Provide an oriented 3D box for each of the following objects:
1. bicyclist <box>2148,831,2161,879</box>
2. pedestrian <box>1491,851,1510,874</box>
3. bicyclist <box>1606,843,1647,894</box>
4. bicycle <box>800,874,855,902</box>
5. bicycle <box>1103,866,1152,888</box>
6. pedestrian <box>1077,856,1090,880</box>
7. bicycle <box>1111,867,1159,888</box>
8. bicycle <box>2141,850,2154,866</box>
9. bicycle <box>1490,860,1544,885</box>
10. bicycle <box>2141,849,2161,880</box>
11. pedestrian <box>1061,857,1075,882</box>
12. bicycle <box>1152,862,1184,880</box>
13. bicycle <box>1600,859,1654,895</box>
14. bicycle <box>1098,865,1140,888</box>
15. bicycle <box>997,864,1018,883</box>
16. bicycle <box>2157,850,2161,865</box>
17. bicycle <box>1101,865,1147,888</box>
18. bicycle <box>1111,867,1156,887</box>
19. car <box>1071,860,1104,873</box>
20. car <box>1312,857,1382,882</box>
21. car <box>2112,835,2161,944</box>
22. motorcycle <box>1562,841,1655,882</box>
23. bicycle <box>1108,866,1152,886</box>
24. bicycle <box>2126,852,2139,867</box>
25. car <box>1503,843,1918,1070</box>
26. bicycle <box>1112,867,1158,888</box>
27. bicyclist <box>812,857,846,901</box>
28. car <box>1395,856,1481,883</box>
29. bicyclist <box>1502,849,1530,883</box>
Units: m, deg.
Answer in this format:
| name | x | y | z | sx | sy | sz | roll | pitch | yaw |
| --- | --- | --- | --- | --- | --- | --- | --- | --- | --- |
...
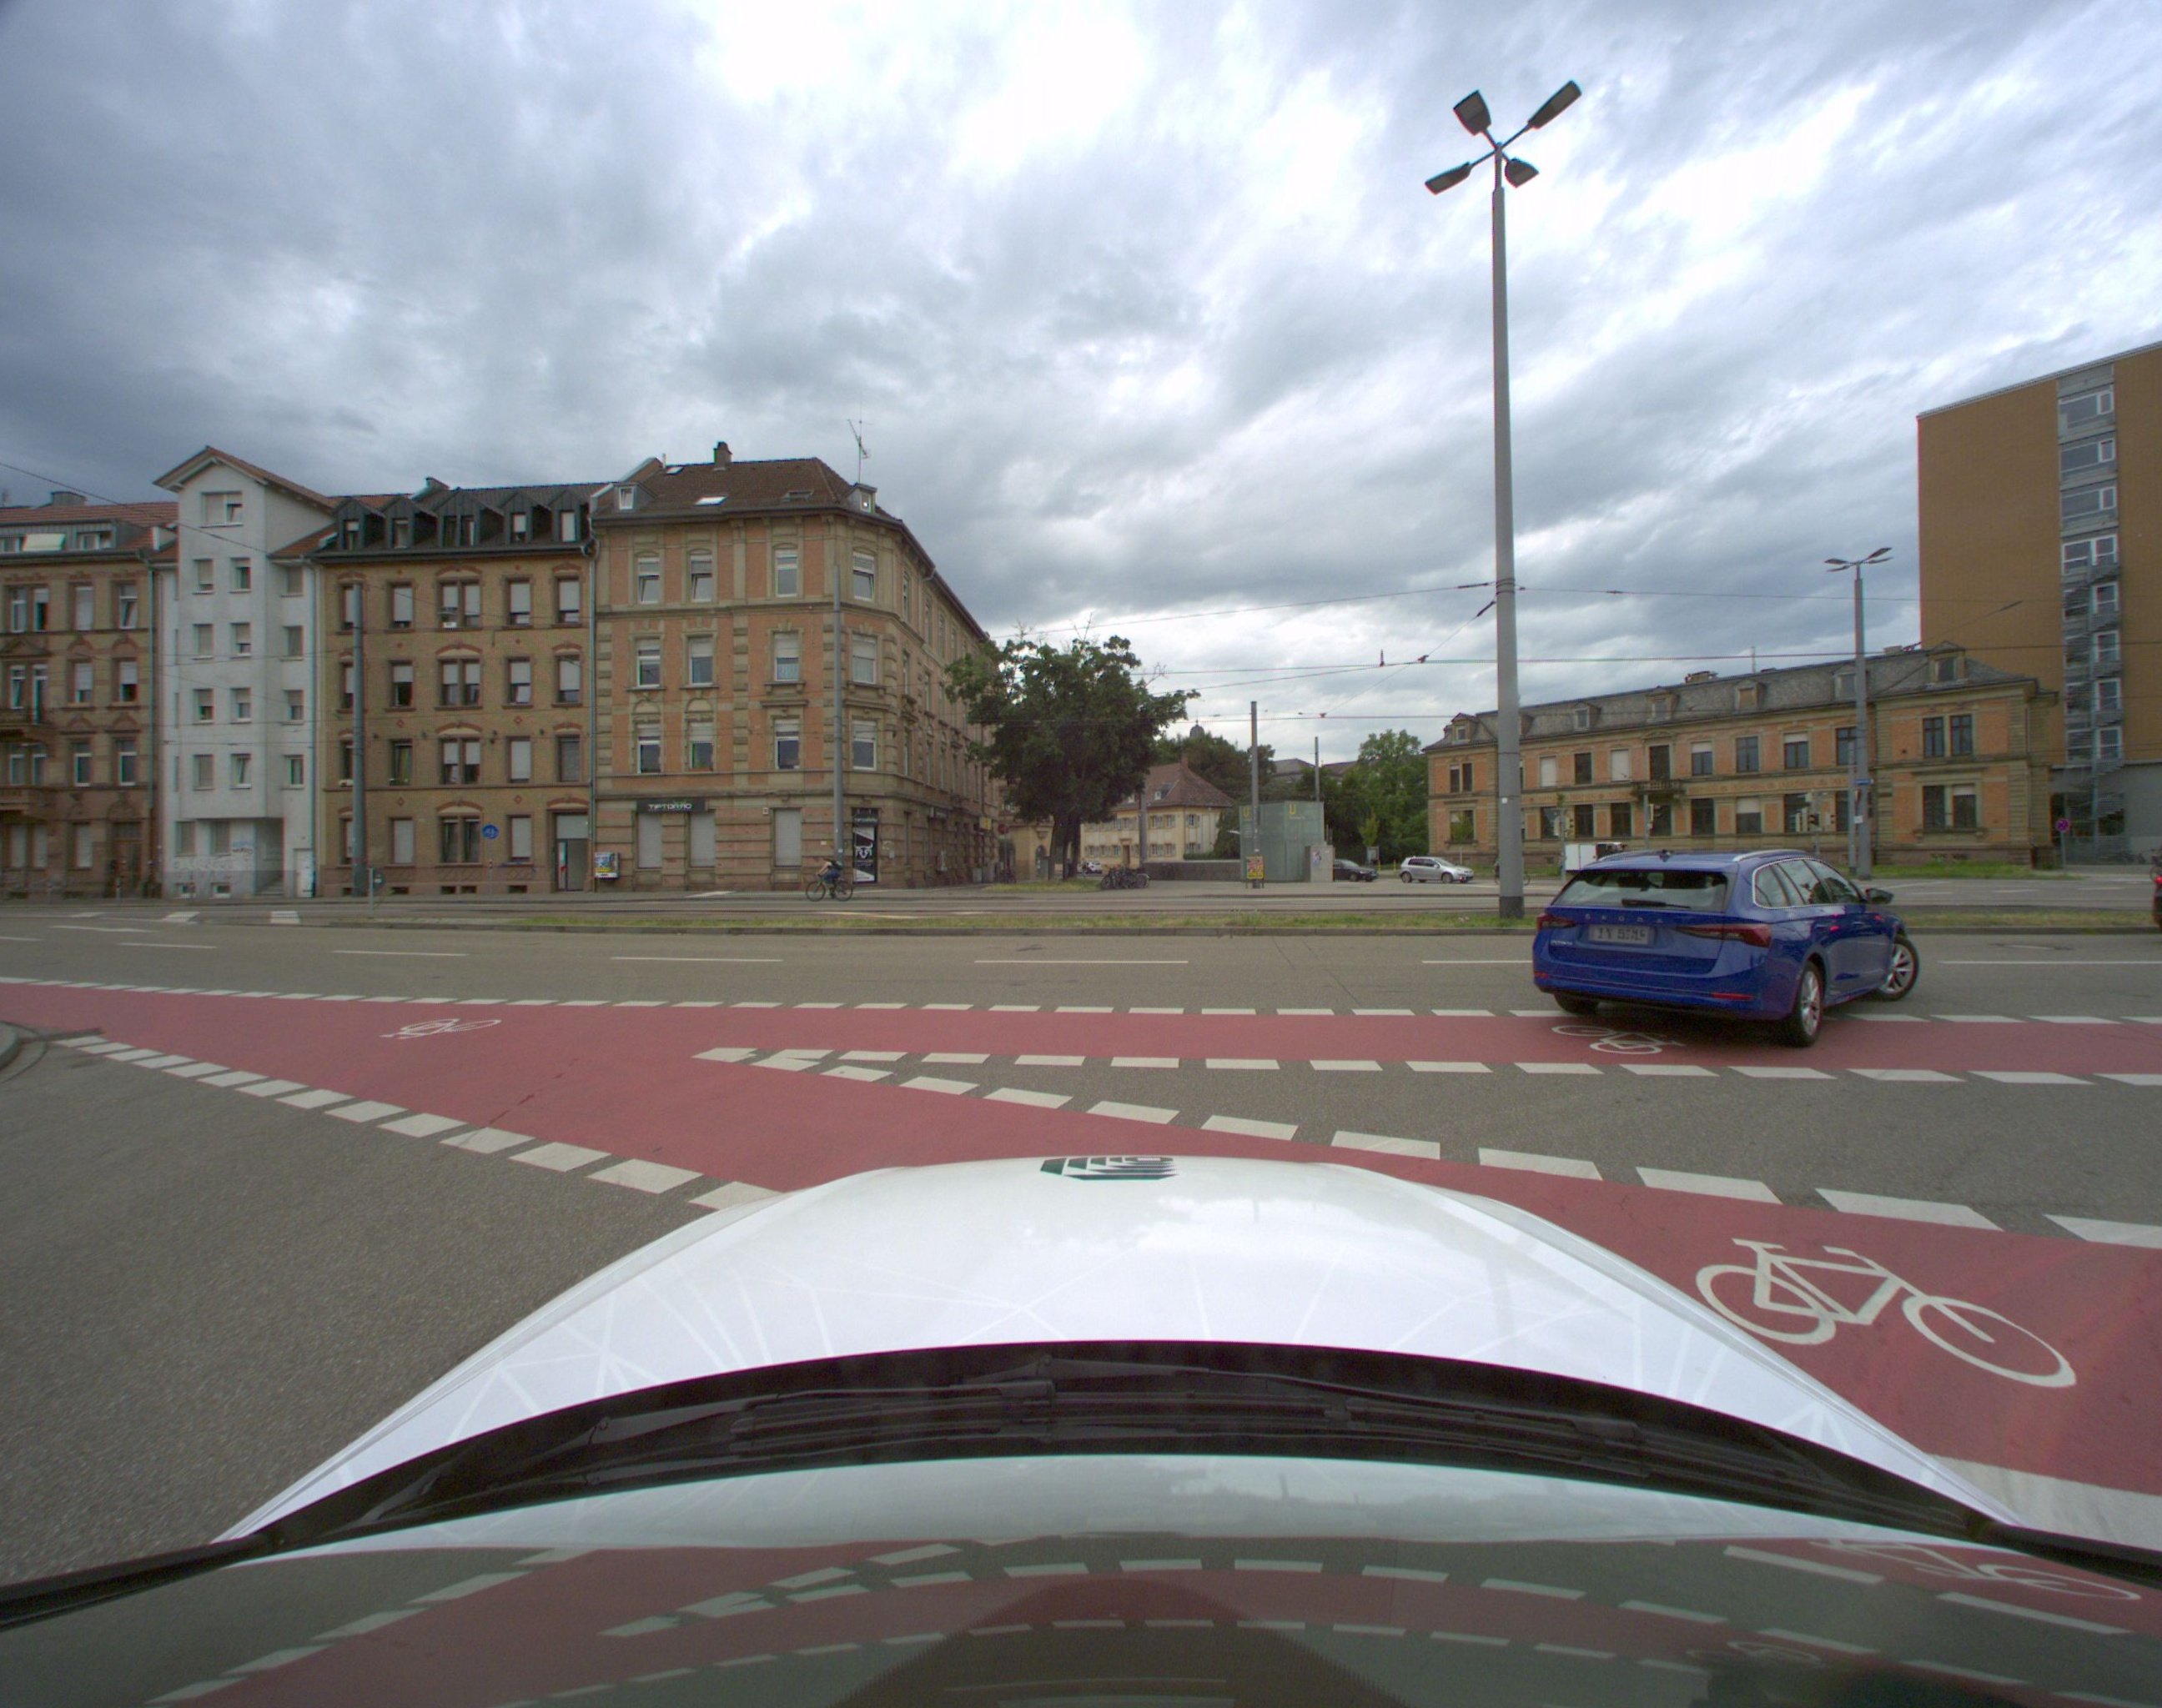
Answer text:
| name | x | y | z | sx | sy | sz | roll | pitch | yaw |
| --- | --- | --- | --- | --- | --- | --- | --- | --- | --- |
| bicyclist | 43.199 | 0.028 | 32.252 | 1.049 | 1.892 | 0.826 | 0 | -2 | -20 |
| pedestrian | 32.288 | 0.639 | 62.645 | 1.113 | 1.763 | 0.763 | -1 | -1 | 44 |
| bicyclist | 19.745 | 0.517 | 29.483 | 0.808 | 1.798 | 1.032 | -2 | -1 | 8 |
| bicycle | -8.773 | 1.165 | 28.222 | 1.708 | 0.915 | 0.608 | -1 | 0 | 1 |
| bicycle | 2.176 | 1.074 | 38.023 | 2.197 | 1.006 | 0.482 | -1 | 0 | 15 |
| pedestrian | 0.177 | 1.022 | 59.783 | 0.839 | 1.722 | 0.955 | -1 | 0 | 9 |
| bicycle | 2.582 | 1.105 | 38.724 | 2.197 | 0.987 | 0.502 | -1 | 0 | 15 |
| bicycle | 76.841 | 0.279 | 58.672 | 1.434 | 1.106 | 0.566 | 0 | -1 | -37 |
| bicycle | 21.372 | 0.895 | 39.989 | 0.861 | 1.208 | 2.174 | 0 | -1 | -34 |
| bicycle | 43.210 | 0.400 | 32.247 | 2.234 | 1.208 | 0.821 | -1 | -2 | -20 |
| pedestrian | -0.909 | 1.087 | 58.225 | 0.839 | 1.722 | 0.955 | -1 | 0 | 9 |
| bicycle | 5.550 | 1.086 | 52.232 | 0.743 | 1.115 | 2.339 | -1 | 0 | -32 |
| bicycle | 19.777 | 0.833 | 29.556 | 0.809 | 1.243 | 2.004 | -2 | -2 | 8 |
| bicycle | 1.717 | 1.022 | 36.770 | 1.850 | 0.987 | 0.502 | -1 | -1 | 13 |
| bicycle | -3.774 | 0.990 | 42.146 | 0.657 | 0.914 | 1.994 | -1 | 0 | 7 |
| bicycle | 77.233 | 0.274 | 58.141 | 1.434 | 1.049 | 0.504 | 0 | -1 | -37 |
| bicycle | 1.986 | 1.036 | 37.487 | 2.016 | 0.987 | 0.524 | -1 | 0 | 15 |
| bicycle | 2.707 | 1.176 | 41.650 | 2.197 | 0.987 | 0.587 | -1 | 0 | 15 |
| car | 0.719 | 1.503 | 95.824 | 1.705 | 1.449 | 4.140 | -1 | 0 | -38 |
| car | 16.520 | 0.945 | 50.771 | 1.702 | 1.449 | 4.104 | -1 | 0 | -29 |
| car | 16.247 | 0.442 | 10.535 | 3.790 | 1.449 | 1.709 | -1 | 0 | -2 |
| motorcycle | 27.203 | 0.367 | 42.076 | 1.703 | 2.014 | 3.647 | -1 | 0 | -35 |
| bicycle | 2.573 | 1.167 | 42.928 | 2.197 | 1.039 | 0.691 | -1 | 0 | 15 |
| bicycle | 76.417 | 0.415 | 59.187 | 1.434 | 1.106 | 0.566 | 0 | -1 | -37 |
| car | 5.850 | 0.676 | 7.378 | 4.485 | 1.488 | 1.766 | 0 | -1 | -36 |
| bicycle | 2.656 | 1.149 | 39.998 | 2.197 | 0.987 | 0.613 | -1 | 0 | 15 |
| bicyclist | -8.746 | 0.860 | 28.236 | 0.935 | 1.494 | 0.664 | -1 | 0 | 2 |
| car | 19.940 | 0.857 | 45.649 | 1.768 | 1.454 | 4.117 | -1 | 0 | -34 |
| bicyclist | 21.377 | 0.599 | 39.992 | 0.858 | 1.623 | 0.908 | 0 | -1 | -34 |
